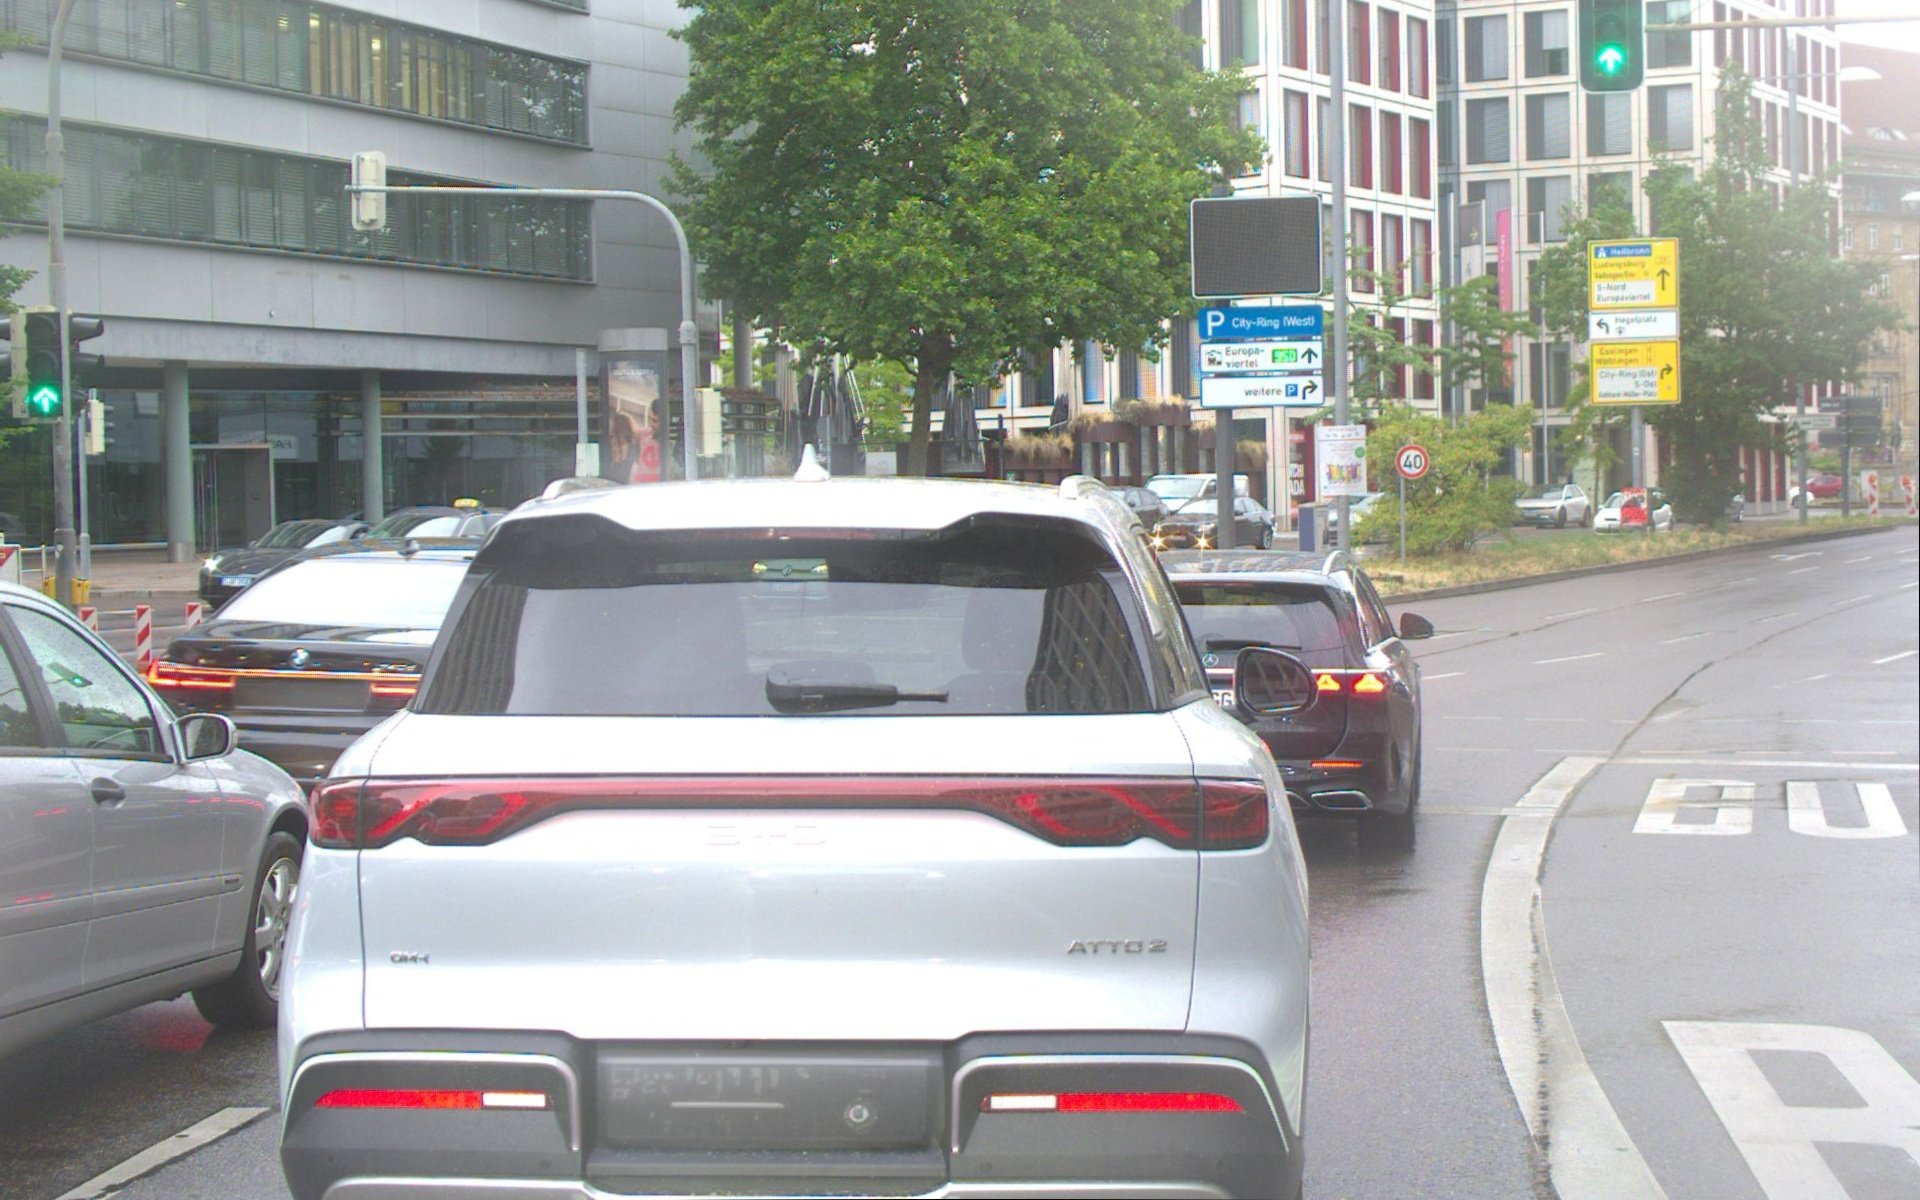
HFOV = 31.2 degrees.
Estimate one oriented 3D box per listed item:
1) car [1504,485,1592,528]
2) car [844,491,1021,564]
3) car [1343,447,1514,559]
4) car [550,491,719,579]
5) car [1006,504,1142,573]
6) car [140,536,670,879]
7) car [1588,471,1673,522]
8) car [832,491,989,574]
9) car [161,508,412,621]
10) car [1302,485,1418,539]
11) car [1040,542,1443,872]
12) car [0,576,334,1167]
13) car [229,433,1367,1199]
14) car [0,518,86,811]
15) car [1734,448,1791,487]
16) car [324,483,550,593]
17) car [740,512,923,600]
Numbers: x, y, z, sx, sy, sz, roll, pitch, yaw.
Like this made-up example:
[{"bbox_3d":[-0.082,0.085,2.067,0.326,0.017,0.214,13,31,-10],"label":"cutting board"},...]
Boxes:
[{"bbox_3d":[21.005,-3.350,122.749,1.996,1.483,3.994,0,2,27],"label":"car"},{"bbox_3d":[-0.550,-1.611,75.188,1.816,1.505,5.189,0,2,25],"label":"car"},{"bbox_3d":[8.907,-1.802,65.003,1.996,2.007,4.843,1,1,23],"label":"car"},{"bbox_3d":[-6.029,-1.192,63.998,1.640,1.565,3.715,1,1,21],"label":"car"},{"bbox_3d":[2.734,-1.474,81.393,1.633,1.553,4.588,0,2,23],"label":"car"},{"bbox_3d":[-2.615,0.452,17.103,1.571,1.481,3.999,1,1,6],"label":"car"},{"bbox_3d":[19.588,-3.030,100.308,1.633,1.432,3.903,0,2,23],"label":"car"},{"bbox_3d":[-0.939,-1.321,67.367,1.645,1.575,4.081,1,1,21],"label":"car"},{"bbox_3d":[-10.377,-0.579,53.230,1.996,1.605,3.996,2,2,20],"label":"car"},{"bbox_3d":[11.399,-2.513,97.704,1.996,1.483,3.994,0,2,27],"label":"car"},{"bbox_3d":[1.559,0.468,17.740,1.694,1.481,3.998,1,1,10],"label":"car"},{"bbox_3d":[-3.010,0.645,8.881,1.571,1.402,4.108,1,1,7],"label":"car"},{"bbox_3d":[-0.209,0.564,7.394,1.776,1.673,4.000,1,1,2],"label":"car"},{"bbox_3d":[-5.834,0.322,16.511,1.707,1.481,3.998,1,1,9],"label":"car"},{"bbox_3d":[38.154,-6.296,163.479,1.609,1.735,3.439,1,1,32],"label":"car"},{"bbox_3d":[-7.609,-0.917,50.389,1.645,1.530,4.149,1,1,17],"label":"car"},{"bbox_3d":[-2.059,-0.707,56.179,1.692,1.380,3.865,1,1,19],"label":"car"}]
